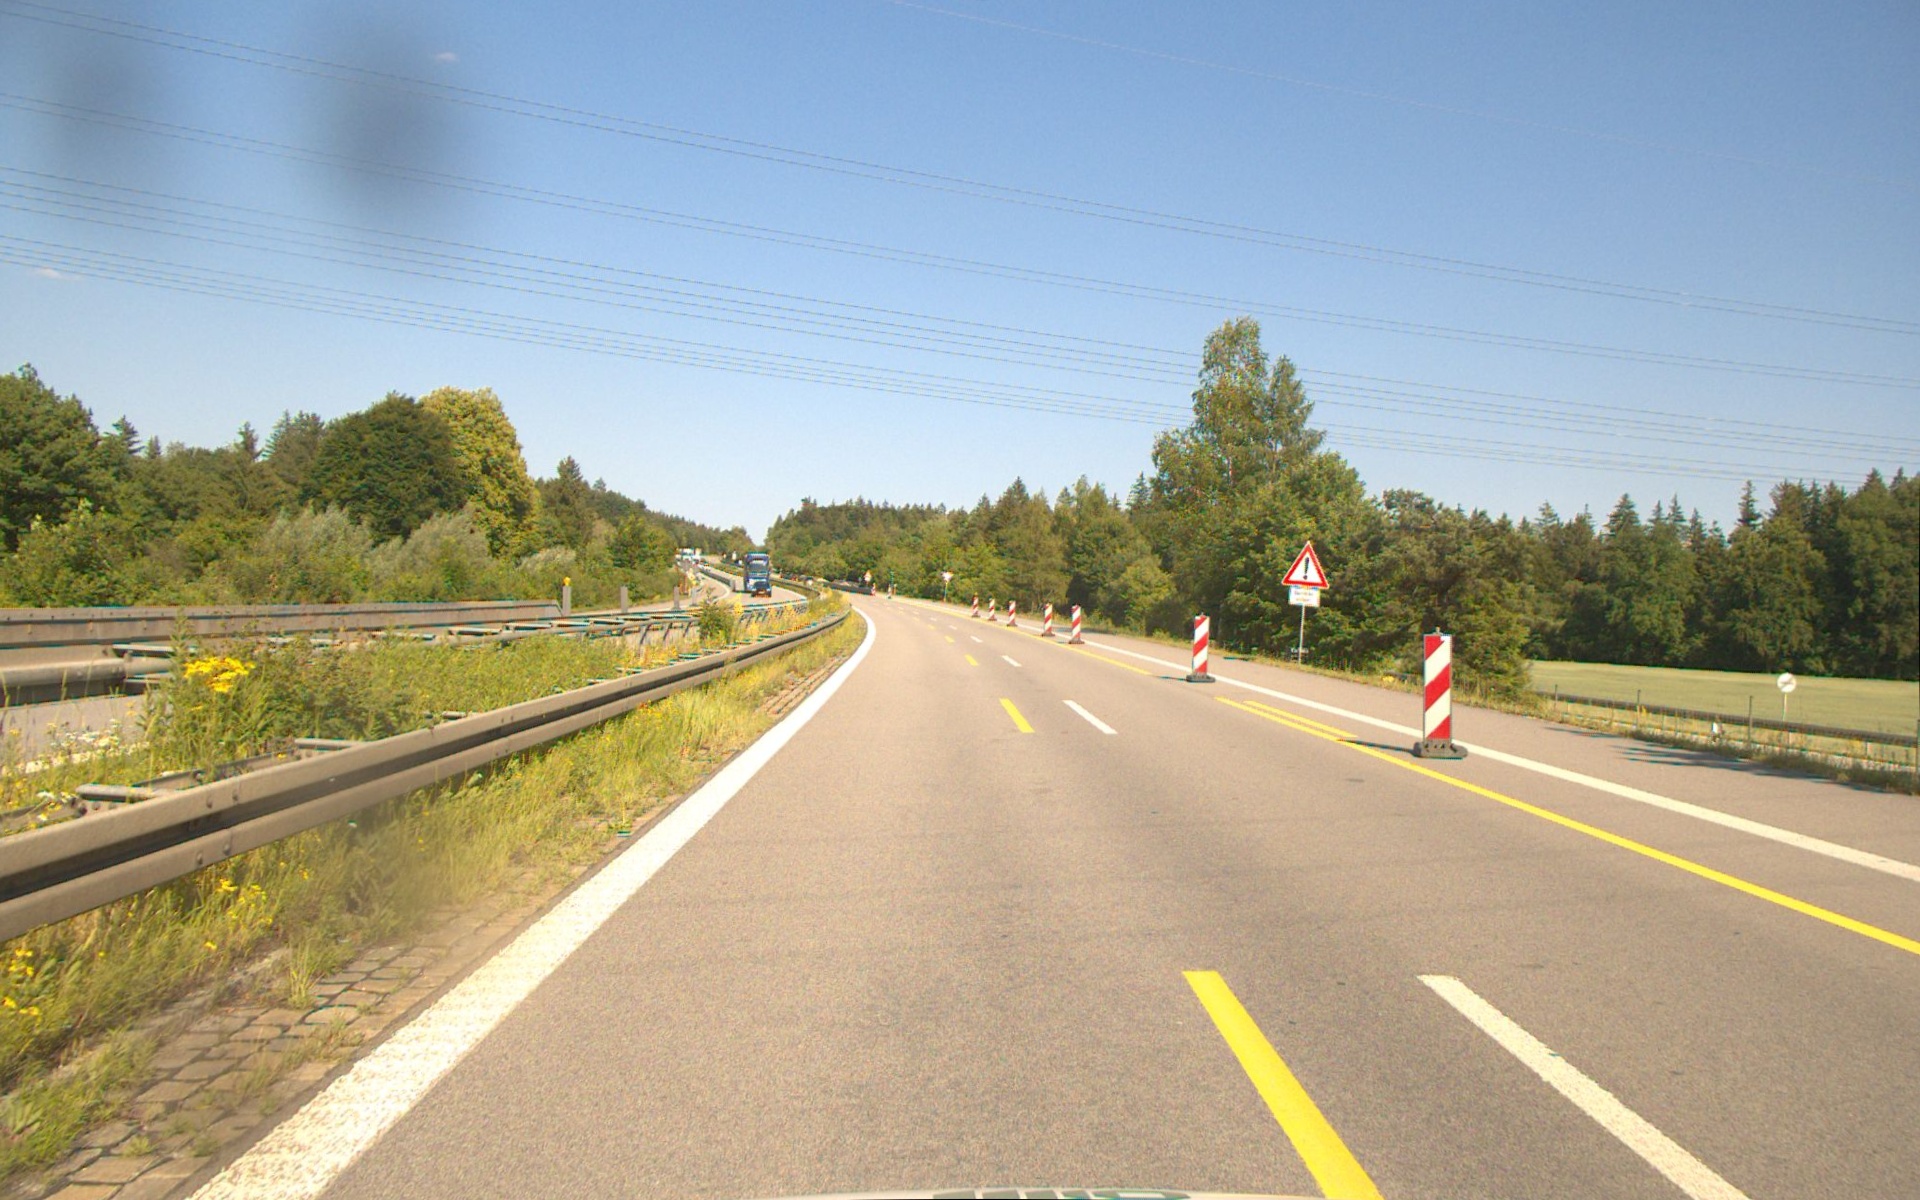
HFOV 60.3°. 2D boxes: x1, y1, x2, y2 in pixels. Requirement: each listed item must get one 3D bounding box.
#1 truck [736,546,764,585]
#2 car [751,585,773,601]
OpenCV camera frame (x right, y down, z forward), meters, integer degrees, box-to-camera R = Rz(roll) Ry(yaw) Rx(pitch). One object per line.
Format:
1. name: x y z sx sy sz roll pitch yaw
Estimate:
1. truck: -22.318 -3.626 176.037 2.581 4.028 5.837 1 0 -5
2. car: -18.082 -0.624 151.070 1.742 1.454 4.265 0 0 -4
